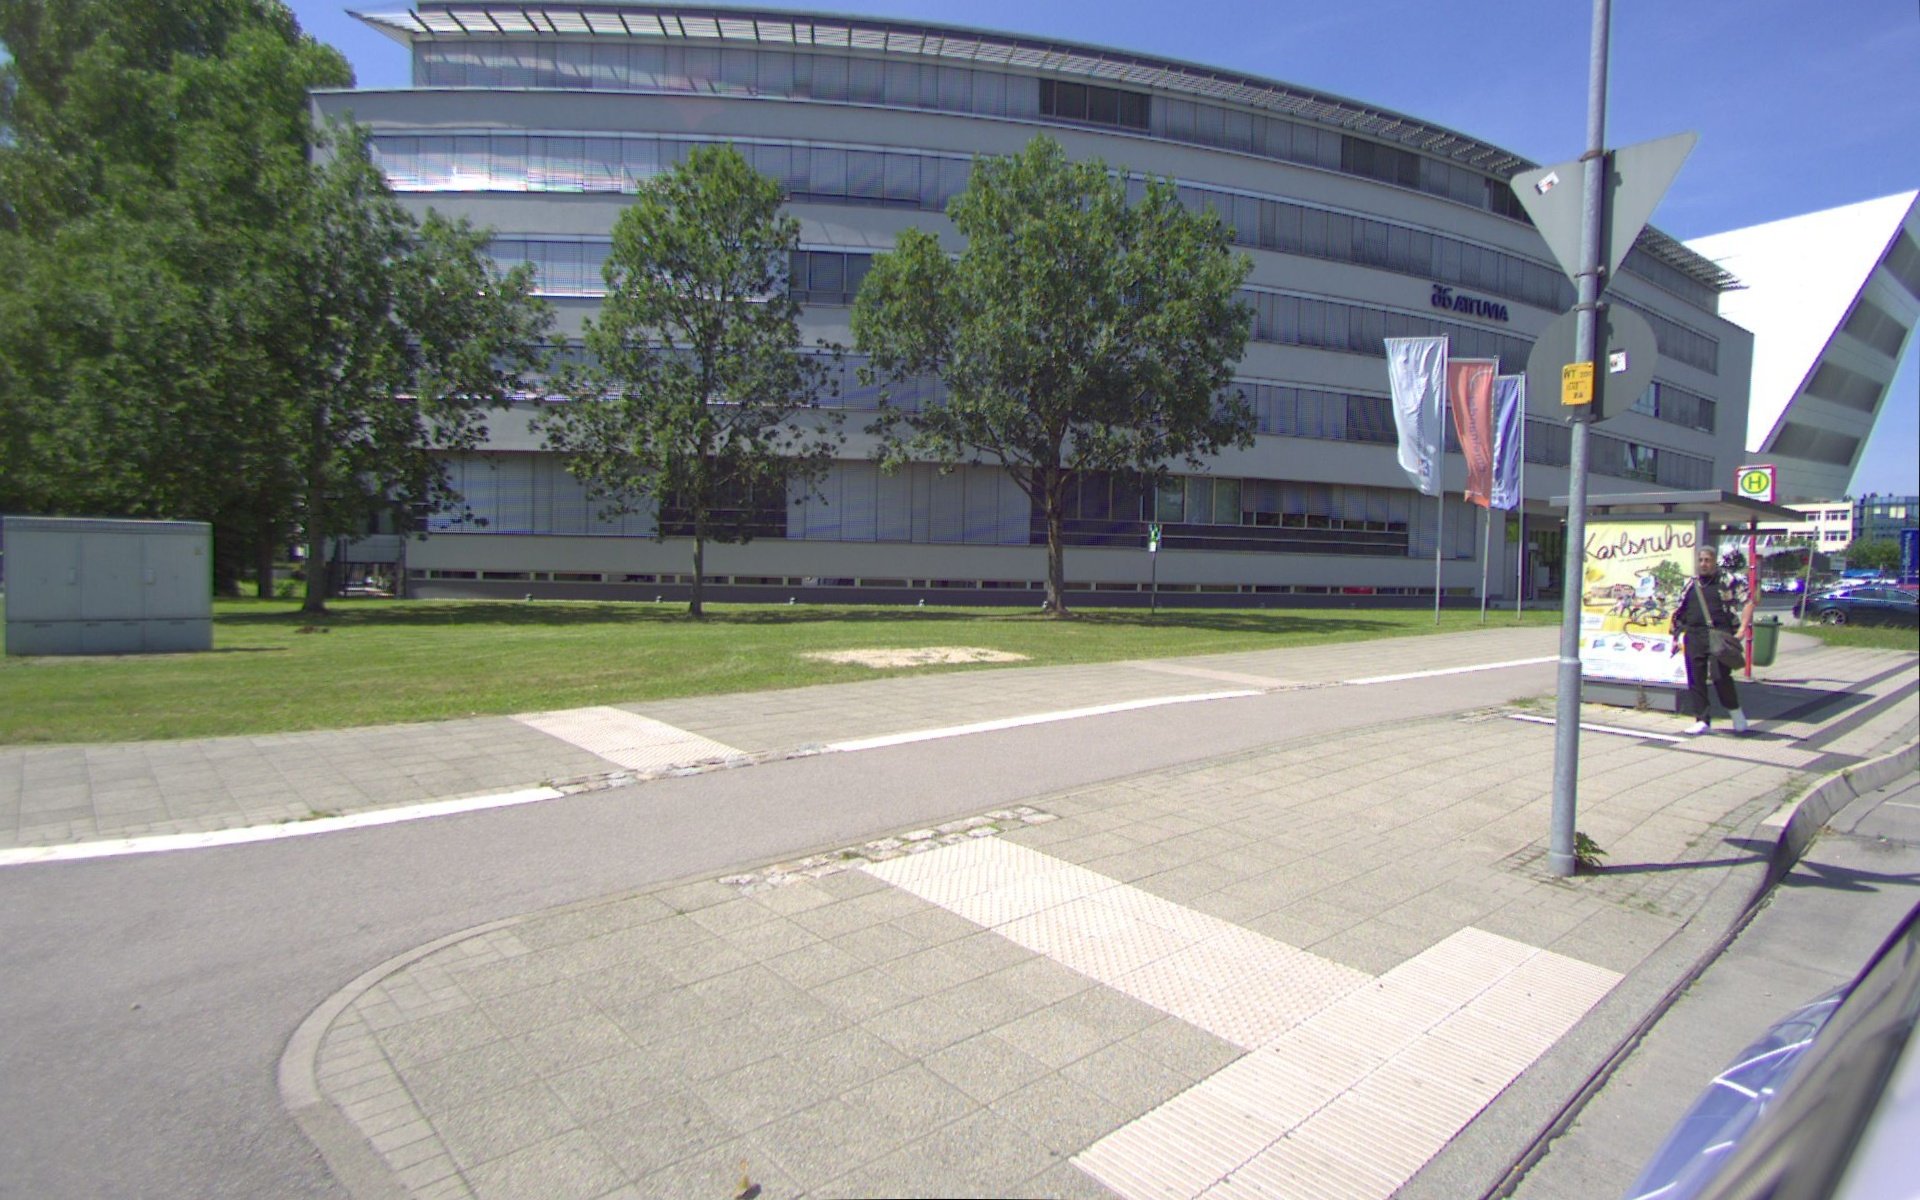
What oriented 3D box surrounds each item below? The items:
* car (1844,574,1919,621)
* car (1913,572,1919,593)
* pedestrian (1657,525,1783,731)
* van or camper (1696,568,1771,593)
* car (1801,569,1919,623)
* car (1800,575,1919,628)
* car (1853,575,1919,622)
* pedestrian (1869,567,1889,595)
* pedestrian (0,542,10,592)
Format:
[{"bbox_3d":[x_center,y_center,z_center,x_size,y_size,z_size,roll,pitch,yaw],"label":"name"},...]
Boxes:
[{"bbox_3d":[34.549,-0.046,36.070,1.755,1.582,4.330,-1,4,-41],"label":"car"},{"bbox_3d":[99.981,-1.754,101.182,2.124,2.176,6.500,-1,1,-35],"label":"car"},{"bbox_3d":[7.216,0.228,9.615,0.812,1.844,0.709,-1,4,-42],"label":"pedestrian"},{"bbox_3d":[77.441,-1.998,101.385,1.671,2.420,5.706,-1,1,-35],"label":"van or camper"},{"bbox_3d":[30.760,-0.162,33.661,1.806,1.675,3.997,-1,3,-39],"label":"car"},{"bbox_3d":[29.184,0.066,31.392,1.797,1.449,4.573,-1,5,-44],"label":"car"},{"bbox_3d":[32.960,-0.017,34.273,1.626,1.504,3.817,-1,4,-39],"label":"car"},{"bbox_3d":[56.125,-1.168,61.799,0.762,1.681,0.843,-1,1,-43],"label":"pedestrian"},{"bbox_3d":[-31.036,-1.063,32.595,0.642,1.628,0.564,1,1,42],"label":"pedestrian"}]
